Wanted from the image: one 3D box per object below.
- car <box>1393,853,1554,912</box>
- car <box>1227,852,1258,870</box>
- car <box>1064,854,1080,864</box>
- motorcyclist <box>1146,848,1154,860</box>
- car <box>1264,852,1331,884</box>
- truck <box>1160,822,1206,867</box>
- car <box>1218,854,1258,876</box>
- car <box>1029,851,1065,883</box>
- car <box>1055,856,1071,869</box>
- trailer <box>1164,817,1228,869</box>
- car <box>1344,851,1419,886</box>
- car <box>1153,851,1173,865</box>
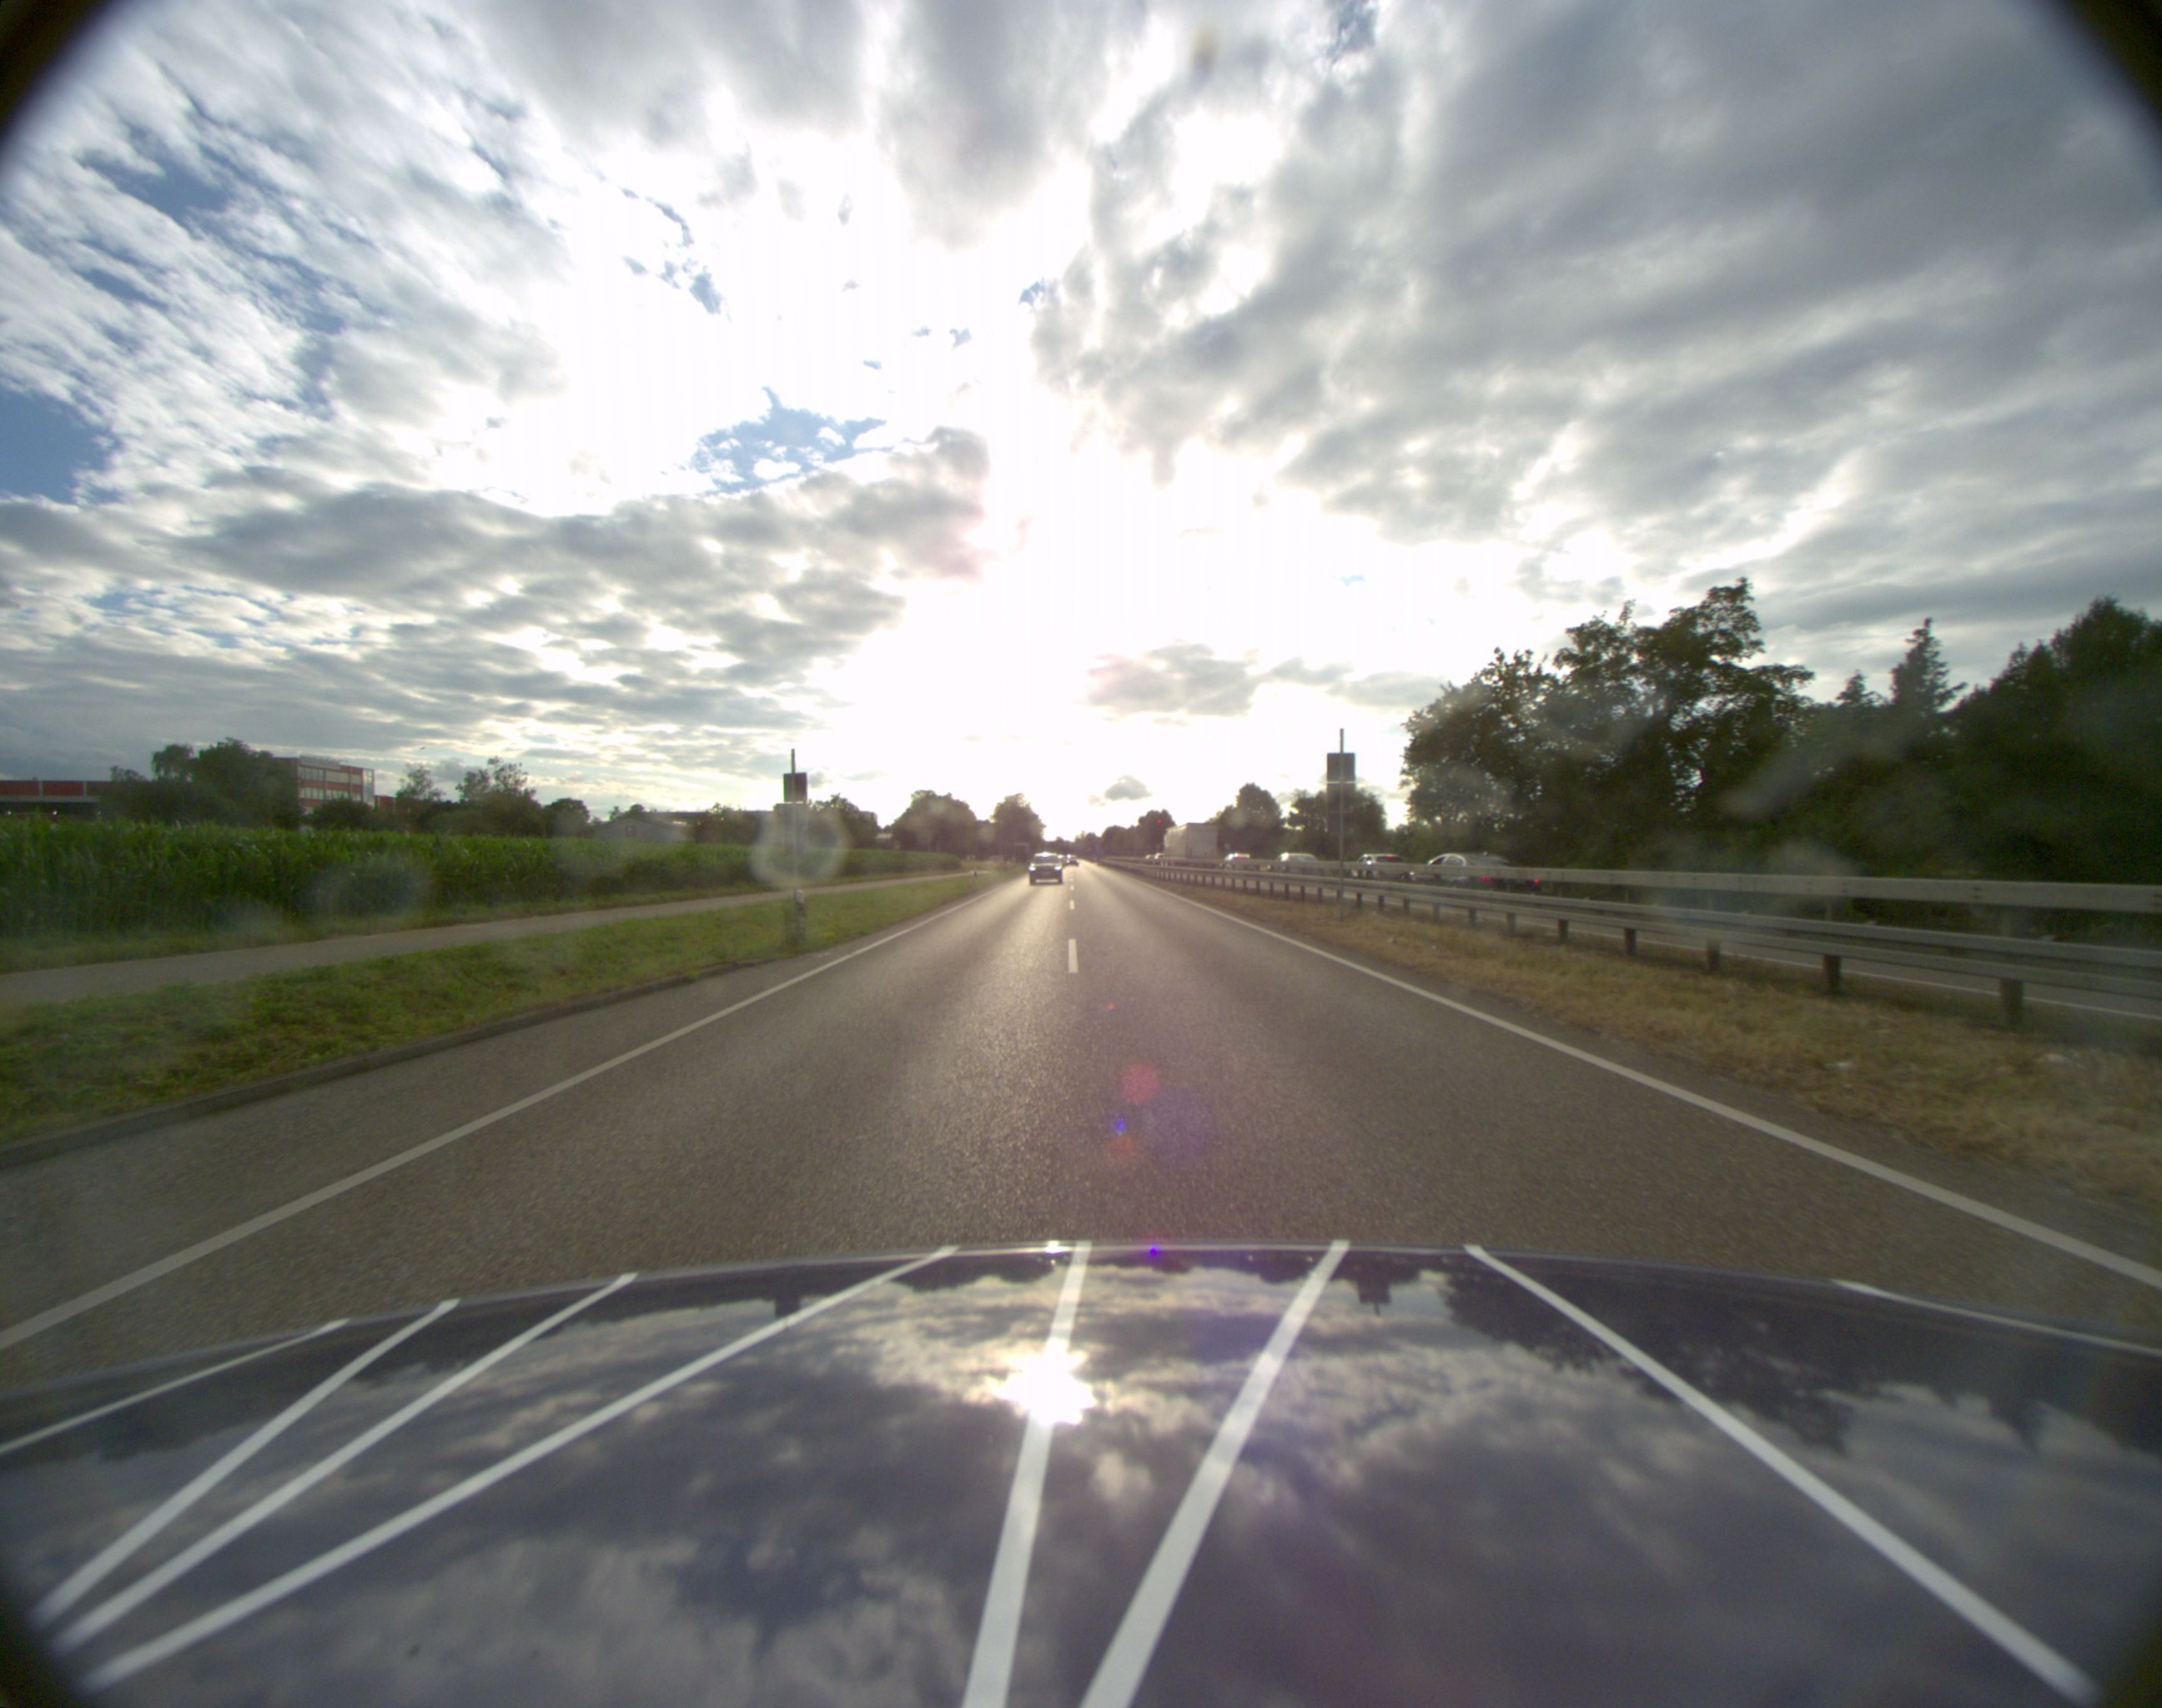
[{"bbox_3d":[10.654,0.699,21.146,1.871,1.469,4.934,0,0,-1],"label":"car"},{"bbox_3d":[14.013,0.590,66.219,1.793,1.564,4.160,0,0,-1],"label":"car"},{"bbox_3d":[-1.240,0.685,105.096,1.998,1.320,4.000,1,0,1],"label":"car"},{"bbox_3d":[9.738,-0.040,107.641,0.918,1.699,1.275,1,1,0],"label":"motorcyclist"},{"bbox_3d":[10.633,0.645,37.720,1.871,1.469,4.825,0,0,-1],"label":"car"},{"bbox_3d":[9.947,-0.908,74.749,3.483,4.126,6.048,1,0,-1],"label":"truck"},{"bbox_3d":[10.519,0.702,51.069,1.793,1.378,4.160,0,0,-1],"label":"car"},{"bbox_3d":[-1.902,0.699,43.578,1.849,1.640,4.480,-2,0,-1],"label":"car"},{"bbox_3d":[-2.188,1.003,92.203,1.667,1.424,3.995,-2,0,1],"label":"car"},{"bbox_3d":[10.060,-0.903,68.593,3.474,4.126,13.914,1,0,-1],"label":"trailer"},{"bbox_3d":[14.116,0.650,35.988,1.871,1.554,4.151,0,0,-1],"label":"car"},{"bbox_3d":[10.010,0.450,92.649,1.912,1.600,4.404,0,0,-1],"label":"car"}]
